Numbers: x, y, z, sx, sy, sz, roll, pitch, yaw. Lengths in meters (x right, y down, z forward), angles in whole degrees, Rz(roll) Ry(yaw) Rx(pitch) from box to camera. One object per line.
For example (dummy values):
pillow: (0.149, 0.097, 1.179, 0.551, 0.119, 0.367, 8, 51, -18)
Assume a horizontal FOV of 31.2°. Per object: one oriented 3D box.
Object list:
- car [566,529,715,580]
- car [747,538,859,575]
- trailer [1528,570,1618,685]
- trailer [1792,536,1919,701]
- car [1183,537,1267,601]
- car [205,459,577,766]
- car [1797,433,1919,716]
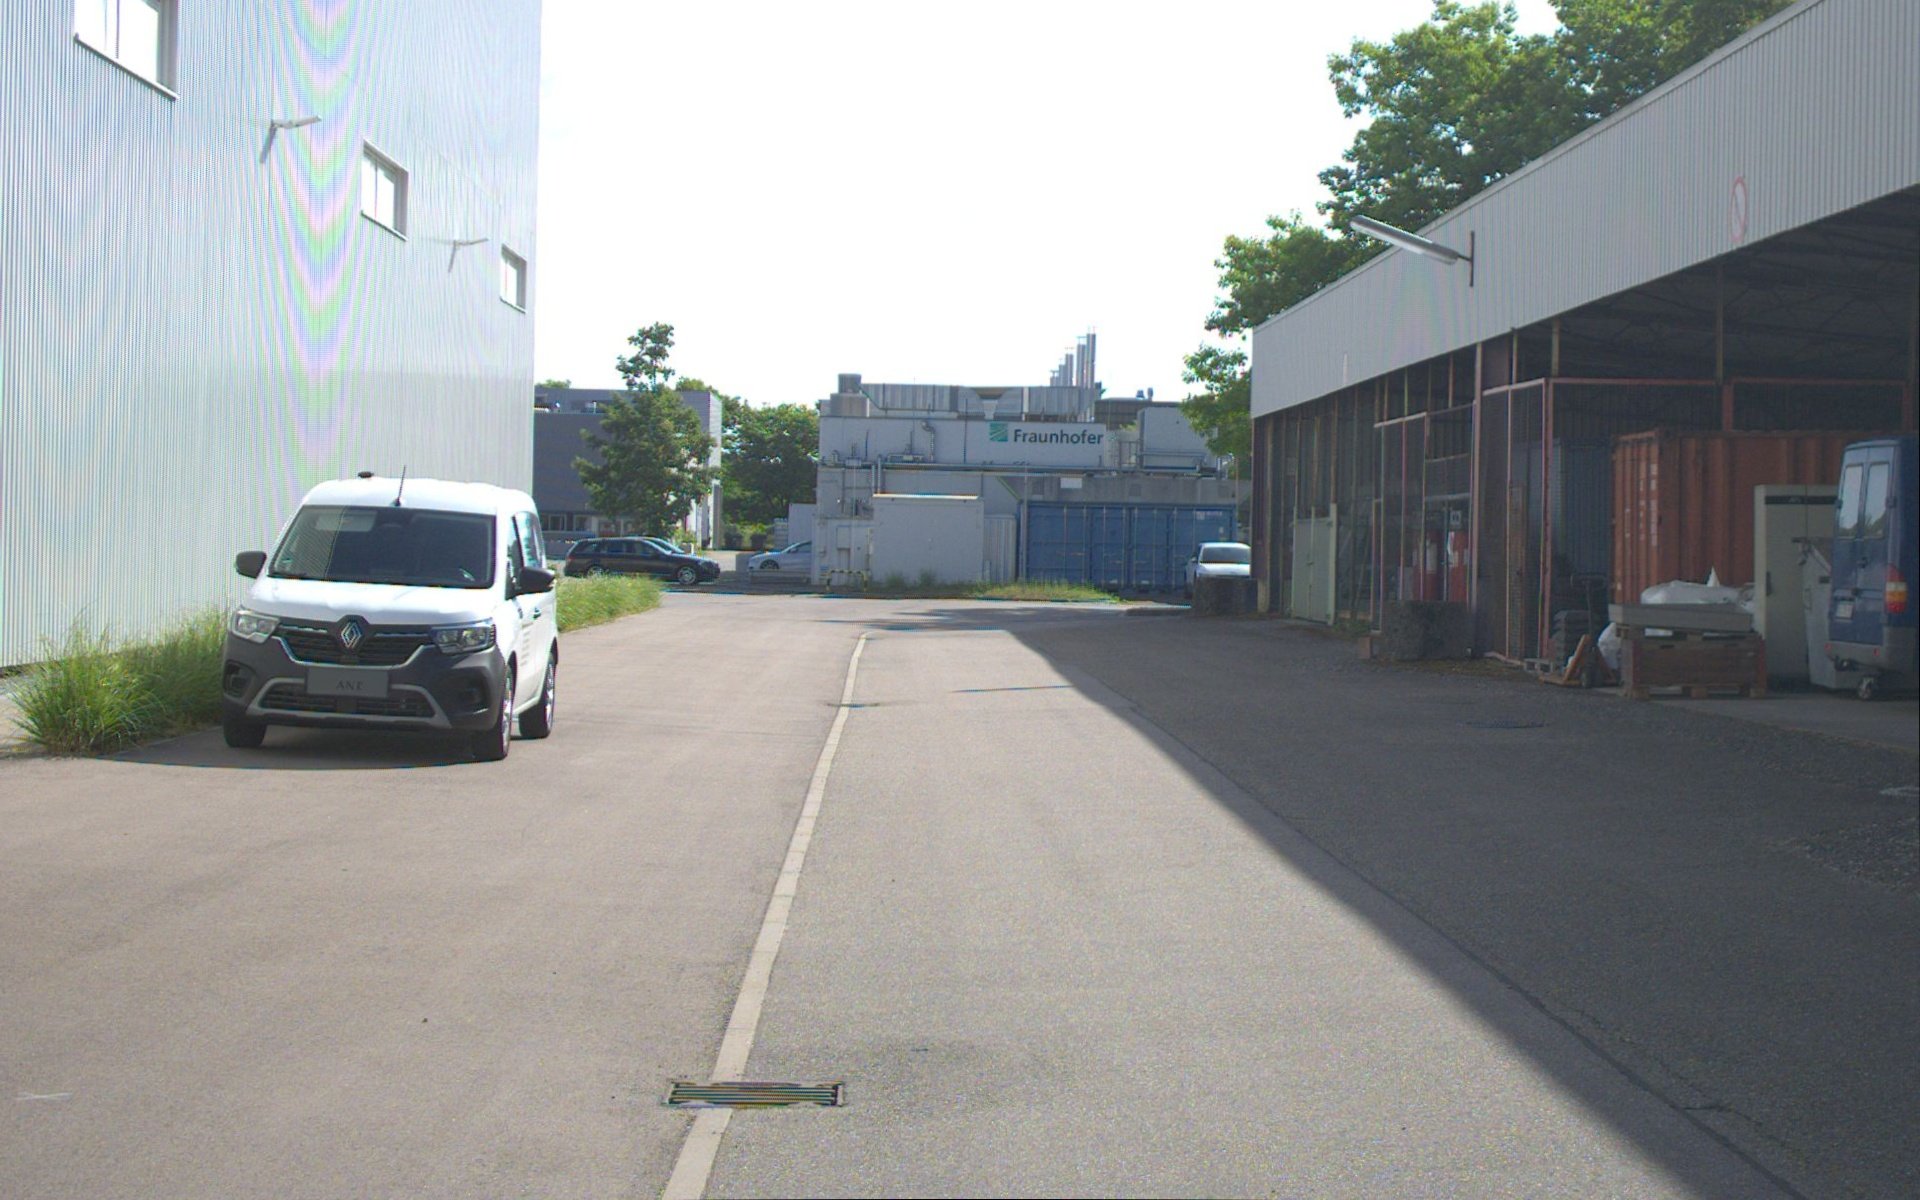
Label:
car: (-9.770, -1.391, 105.354, 4.447, 1.526, 1.824, 0, 0, -1)
car: (-6.078, -1.682, 133.292, 4.302, 1.452, 1.824, 0, 1, -1)
trailer: (6.147, 0.263, 34.506, 0.551, 1.114, 1.547, 0, 1, -3)
trailer: (8.796, 0.150, 31.423, 2.038, 1.461, 1.738, 0, 1, 3)
car: (7.141, -0.857, 93.085, 1.979, 1.597, 4.377, 0, 2, 0)
car: (-3.759, 0.053, 23.466, 1.783, 1.809, 4.602, 3, 1, -1)
car: (9.972, -0.189, 28.817, 5.332, 2.273, 2.153, 1, 0, -1)
